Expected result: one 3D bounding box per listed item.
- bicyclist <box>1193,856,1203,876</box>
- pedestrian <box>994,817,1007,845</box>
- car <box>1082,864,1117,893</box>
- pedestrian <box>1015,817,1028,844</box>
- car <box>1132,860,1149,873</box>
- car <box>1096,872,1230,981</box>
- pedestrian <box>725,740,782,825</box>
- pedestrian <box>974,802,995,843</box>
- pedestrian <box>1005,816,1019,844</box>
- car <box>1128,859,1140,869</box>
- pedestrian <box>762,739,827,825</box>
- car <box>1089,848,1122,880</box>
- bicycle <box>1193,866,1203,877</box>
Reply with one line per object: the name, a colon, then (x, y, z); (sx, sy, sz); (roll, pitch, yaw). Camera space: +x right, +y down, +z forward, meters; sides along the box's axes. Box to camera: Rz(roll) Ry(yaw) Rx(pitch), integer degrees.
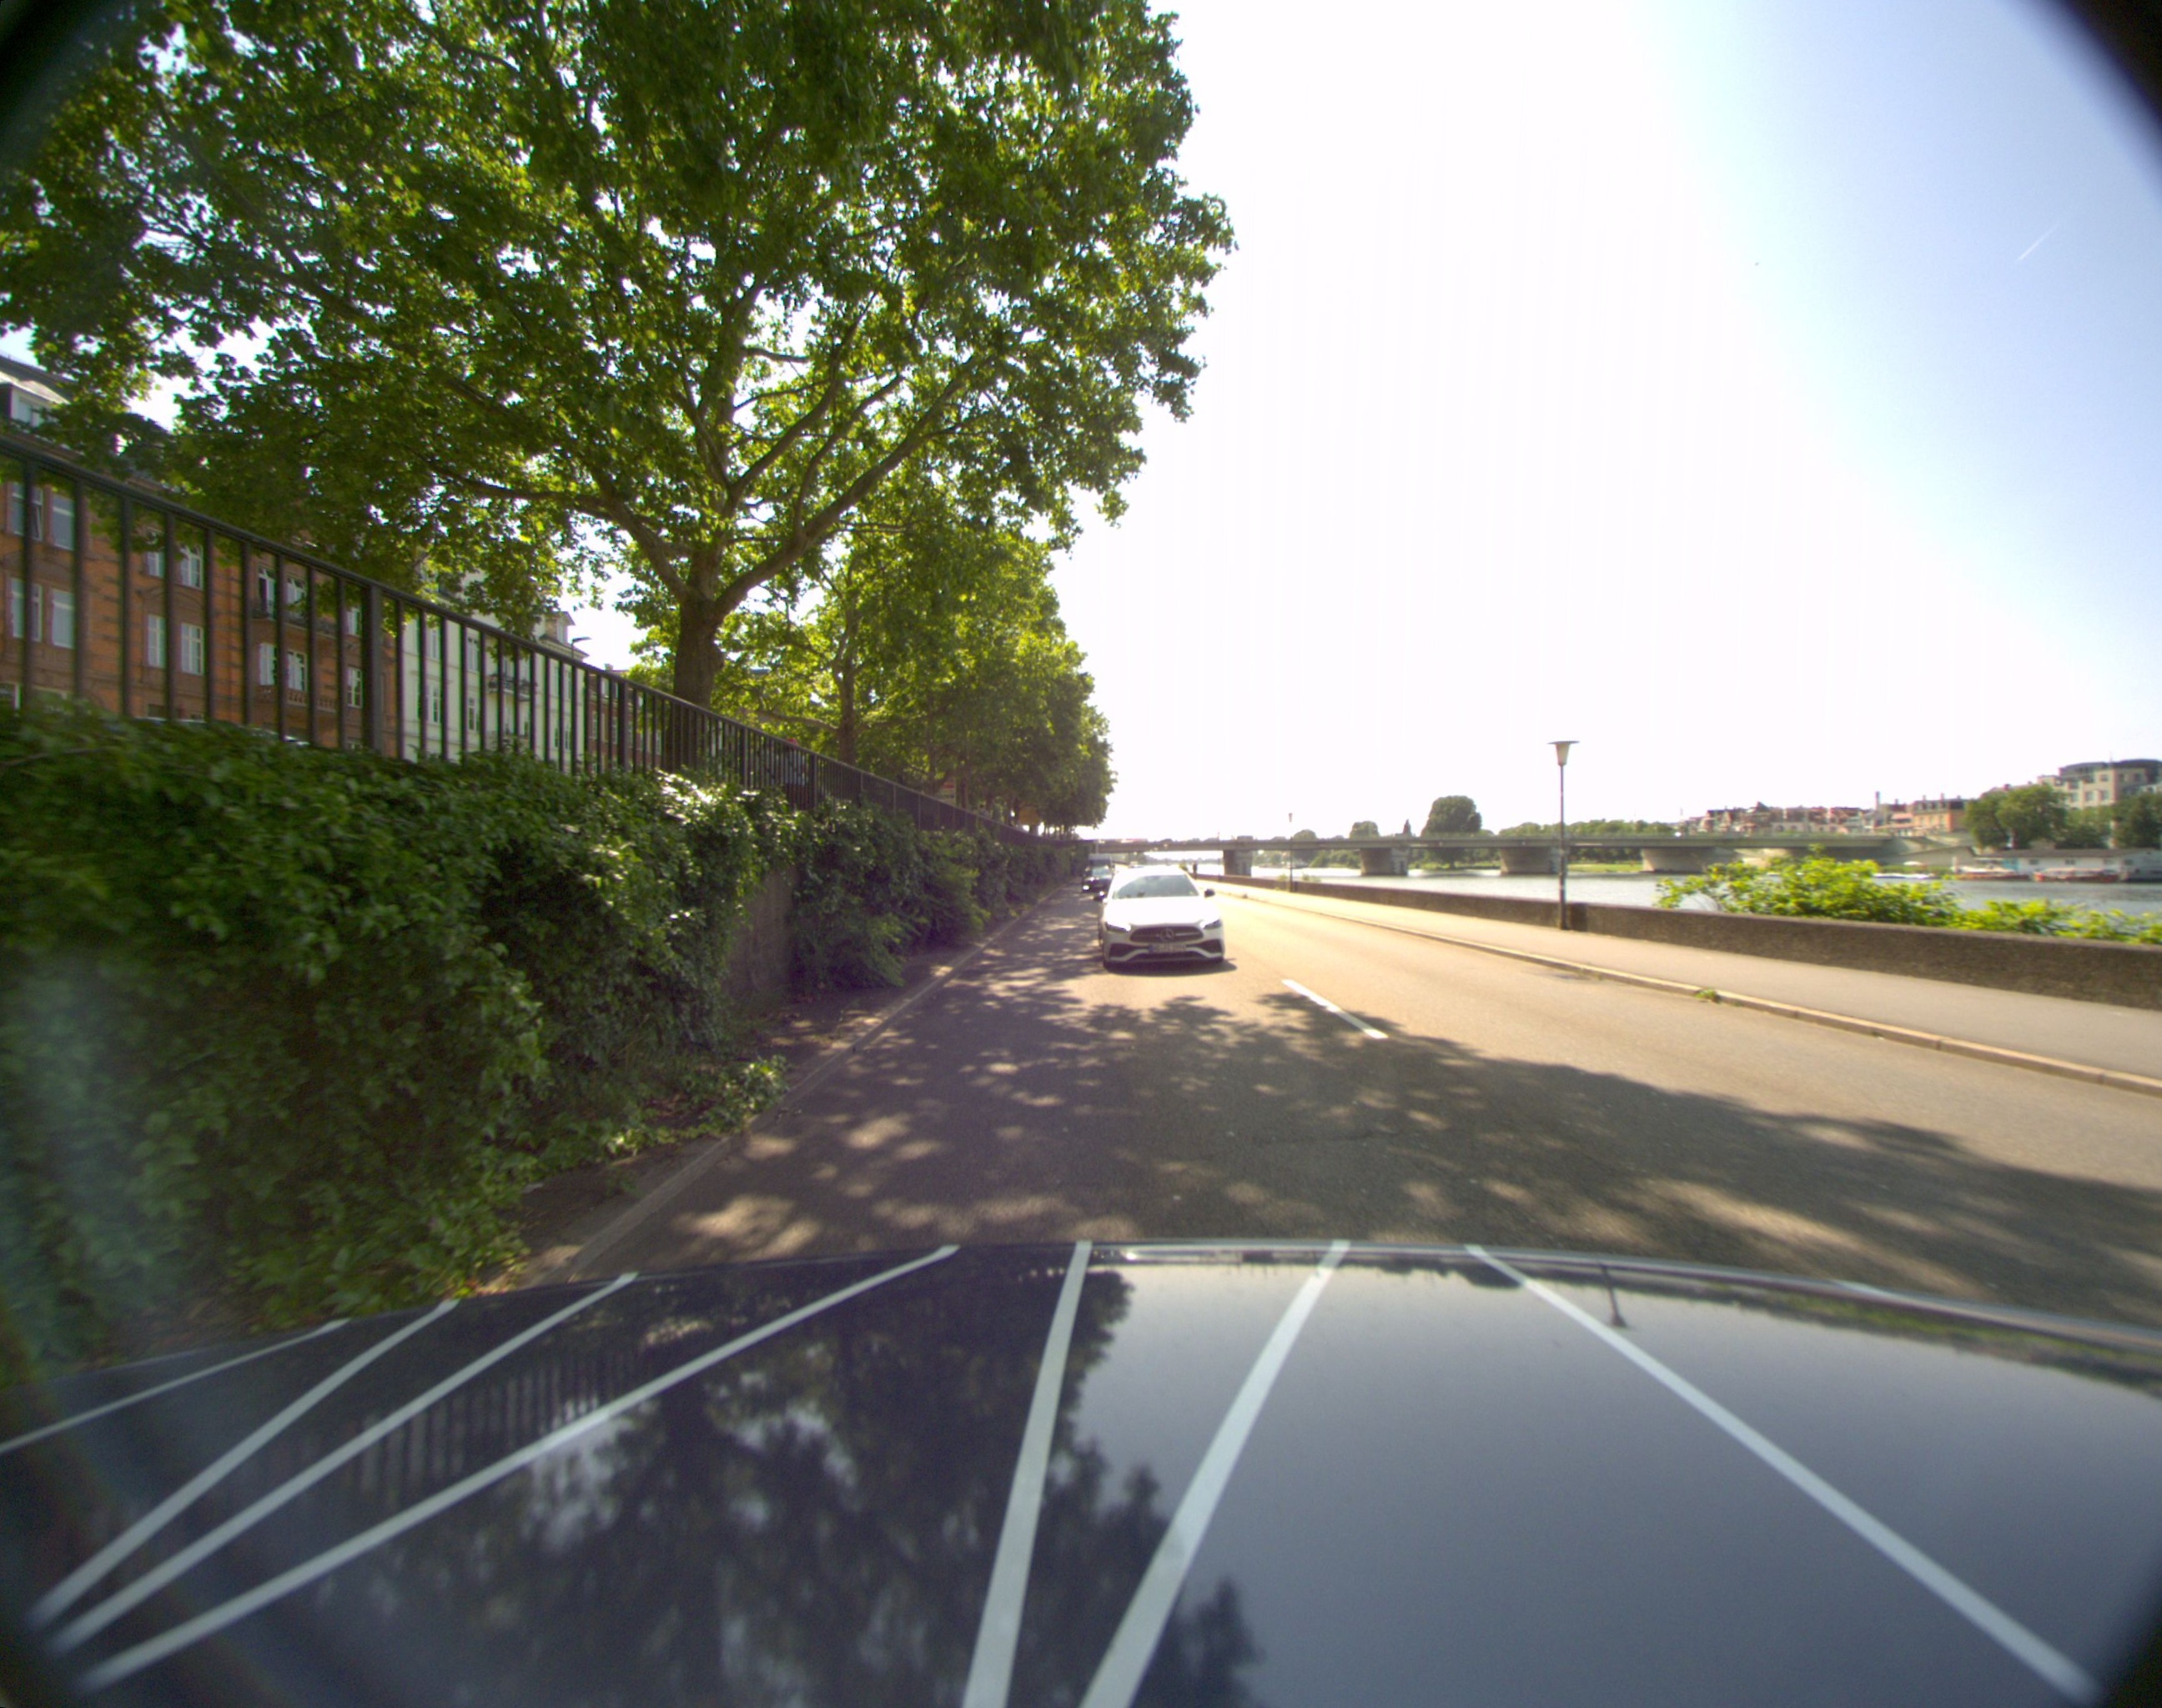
bicyclist: (10.192, 1.053, 66.343); (0.663, 1.692, 0.975); (-1, 0, 1)
pedestrian: (-4.698, -1.325, 44.260); (0.666, 1.582, 0.651); (0, 0, 0)
car: (0.989, 1.331, 42.406); (1.756, 1.385, 4.619); (-3, 0, 0)
pedestrian: (-3.486, -1.370, 44.498); (0.666, 1.582, 0.765); (0, 0, 0)
car: (6.775, 1.425, 87.300); (1.676, 1.433, 3.902); (-1, 0, 0)
car: (1.190, 1.066, 12.889); (1.830, 1.411, 4.553); (-2, 0, 1)
pedestrian: (-5.066, -1.090, 11.779); (0.577, 1.236, 0.691); (0, 0, 0)
pedestrian: (-3.873, -1.263, 30.662); (0.738, 1.582, 0.811); (0, 0, 0)
pedestrian: (-3.947, -1.354, 43.527); (0.738, 1.582, 0.811); (0, 0, 0)
car: (8.305, 1.590, 118.562); (1.670, 1.481, 3.726); (-1, 0, 0)
pedestrian: (-4.398, -1.089, 11.696); (0.713, 1.236, 0.742); (0, 0, 0)
car: (1.857, 0.759, 59.836); (2.351, 2.428, 6.209); (0, 0, 0)
bicycle: (10.205, 1.519, 66.333); (0.654, 0.977, 1.944); (-1, 0, 1)
